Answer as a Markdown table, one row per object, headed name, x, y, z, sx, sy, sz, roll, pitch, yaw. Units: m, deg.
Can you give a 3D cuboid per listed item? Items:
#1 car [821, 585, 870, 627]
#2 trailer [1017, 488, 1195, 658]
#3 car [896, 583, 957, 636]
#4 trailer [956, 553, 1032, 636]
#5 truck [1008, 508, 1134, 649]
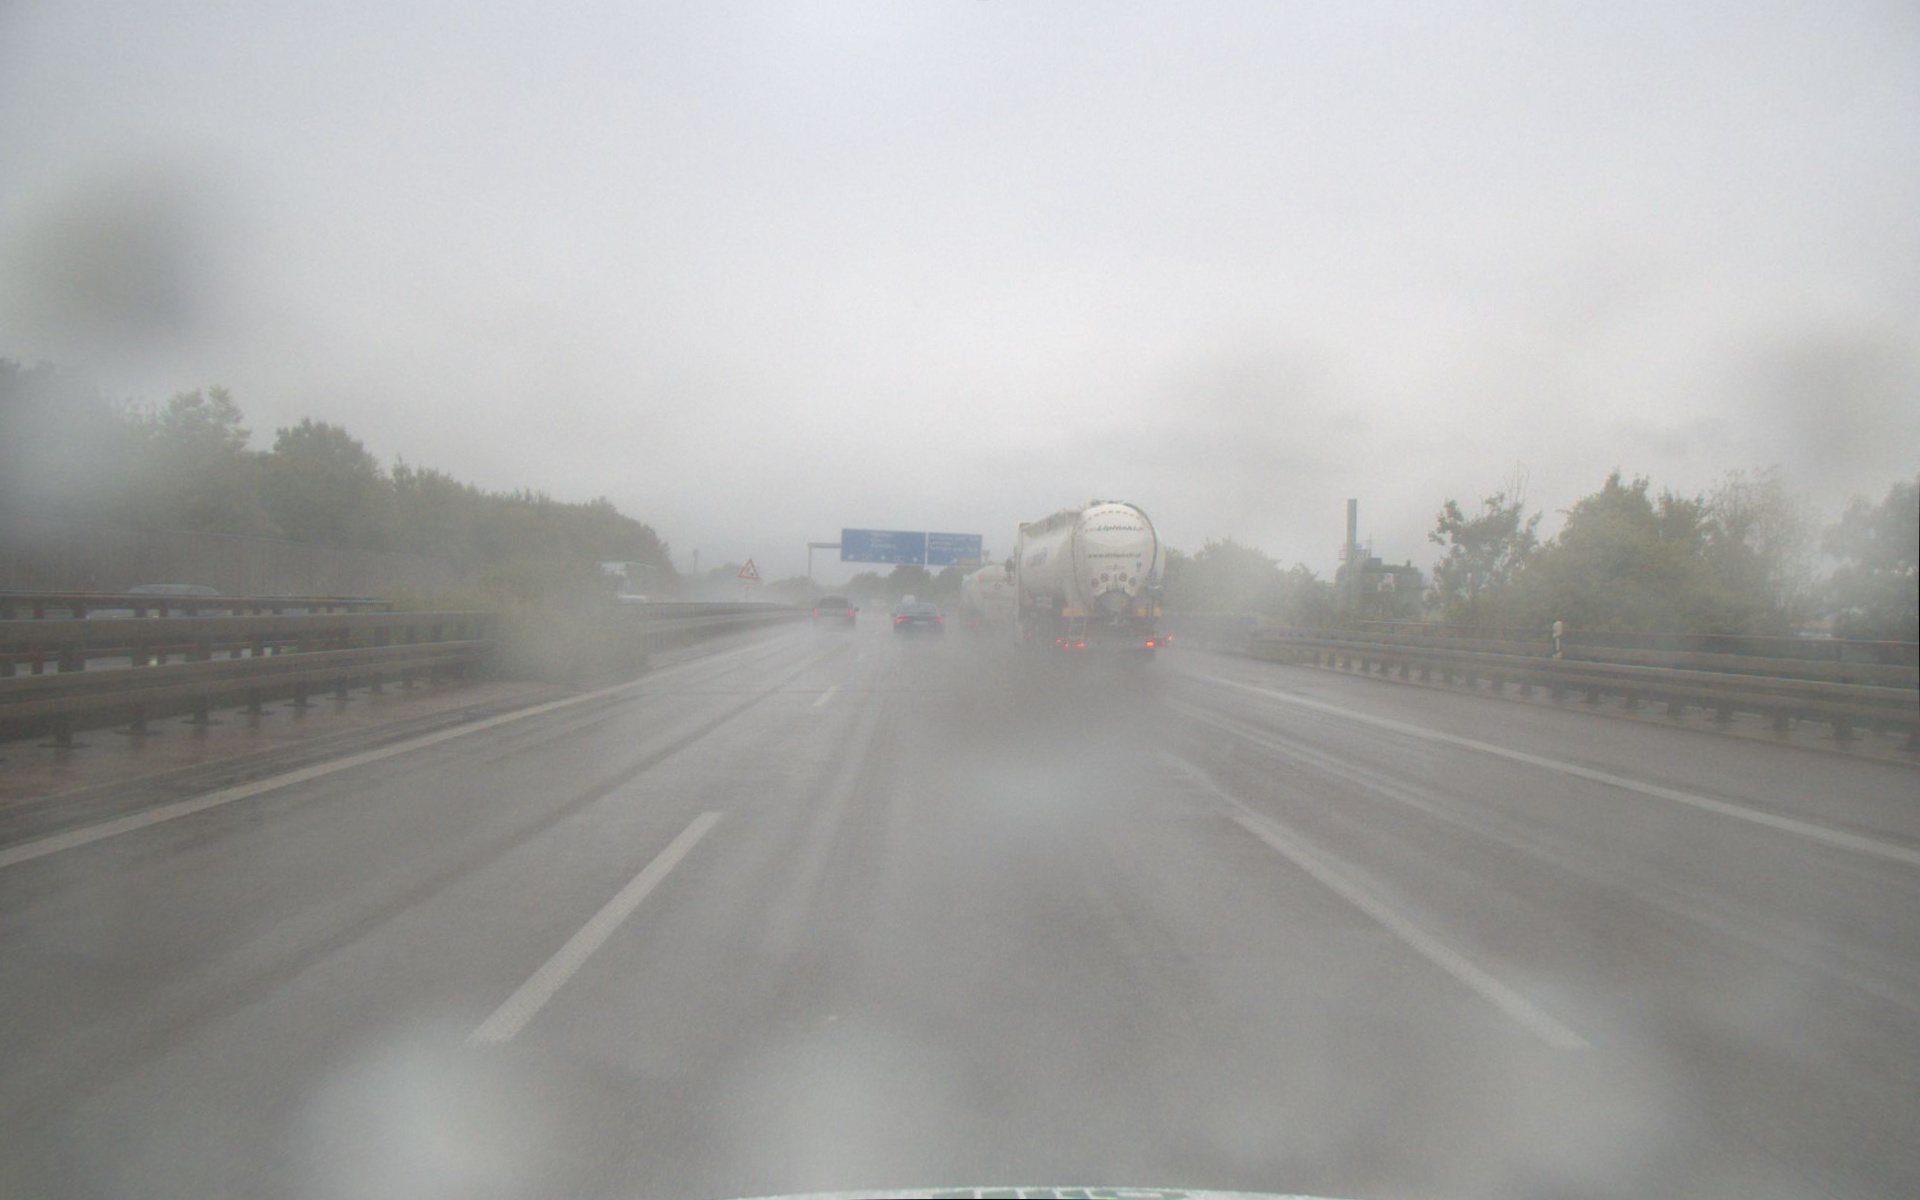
| name | x | y | z | sx | sy | sz | roll | pitch | yaw |
| --- | --- | --- | --- | --- | --- | --- | --- | --- | --- |
| car | -4.956 | 0.238 | 71.979 | 1.886 | 1.771 | 4.403 | 1 | 0 | -1 |
| trailer | 3.461 | -0.620 | 42.803 | 3.124 | 3.734 | 11.662 | 1 | 0 | -2 |
| car | -1.147 | 0.299 | 57.975 | 1.937 | 1.787 | 4.482 | 1 | 0 | 1 |
| trailer | 1.613 | -0.288 | 82.837 | 2.945 | 3.915 | 8.616 | 1 | 0 | -4 |
| truck | 3.217 | -0.624 | 49.870 | 3.042 | 3.873 | 7.209 | 1 | 0 | -2 |
